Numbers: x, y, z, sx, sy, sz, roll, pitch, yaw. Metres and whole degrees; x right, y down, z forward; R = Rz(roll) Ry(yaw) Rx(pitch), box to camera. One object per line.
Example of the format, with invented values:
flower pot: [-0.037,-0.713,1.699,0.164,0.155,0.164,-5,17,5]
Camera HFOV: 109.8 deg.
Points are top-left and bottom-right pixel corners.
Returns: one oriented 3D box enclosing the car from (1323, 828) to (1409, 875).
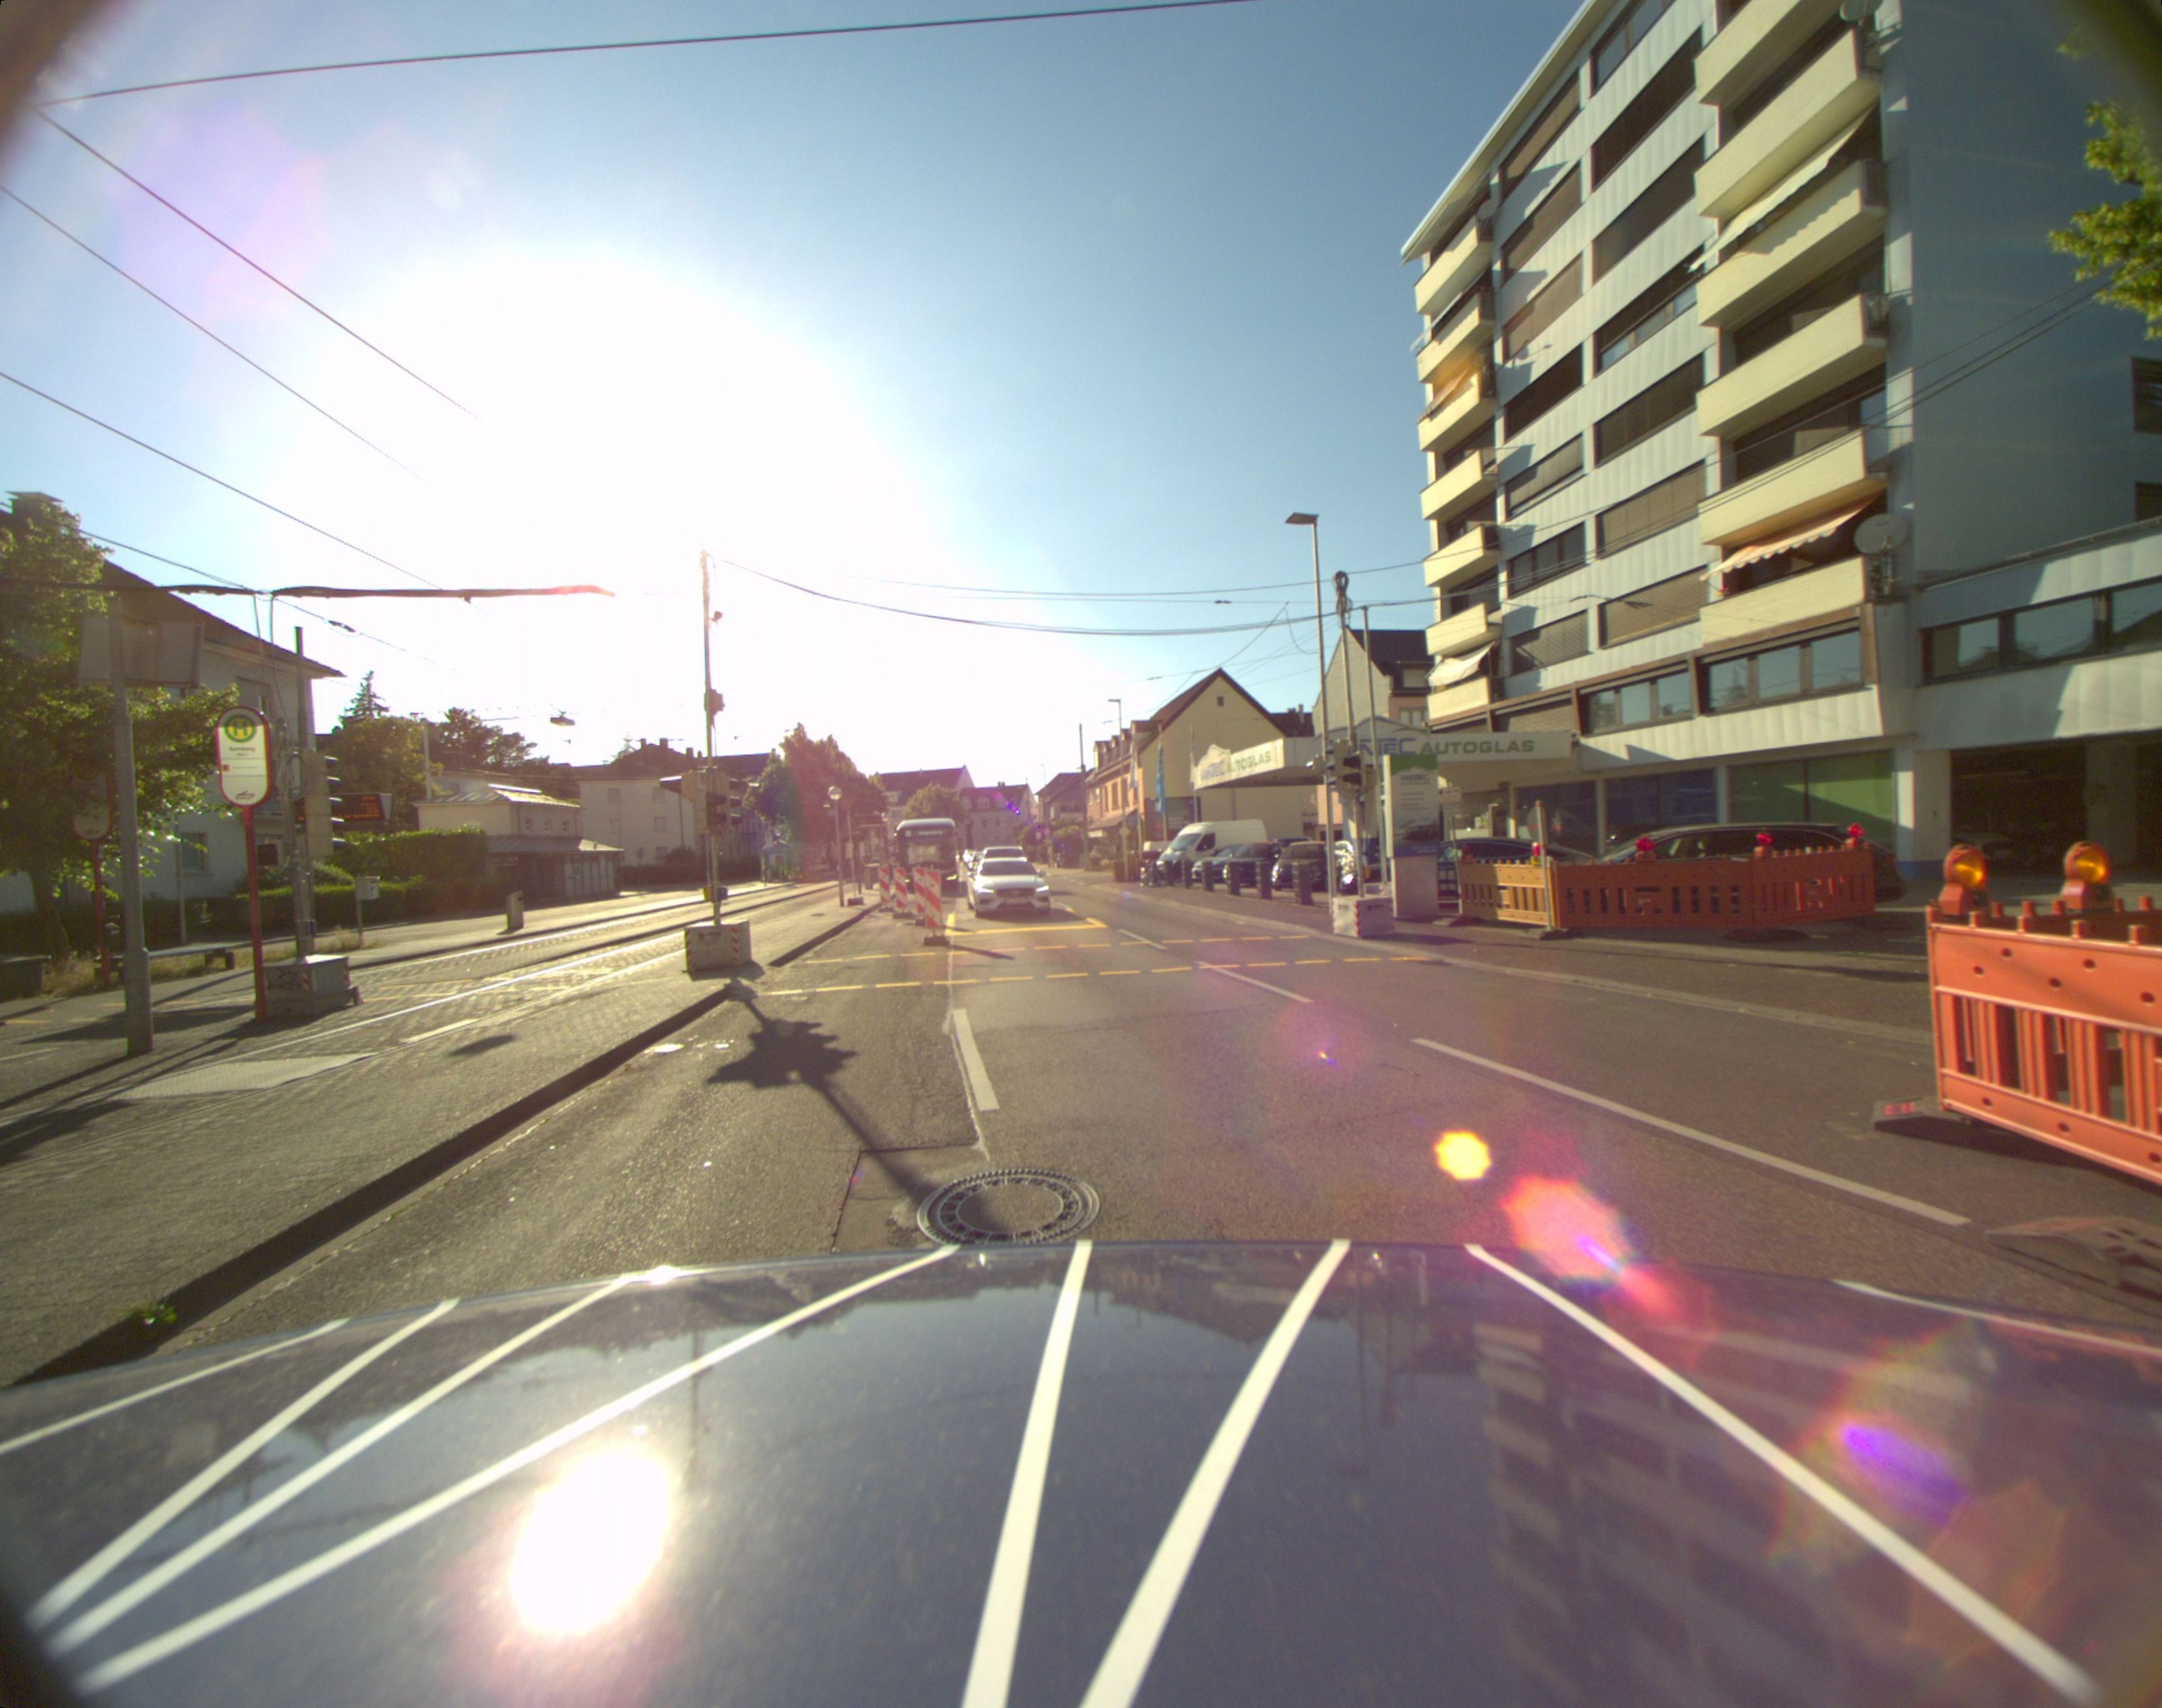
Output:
car: [12.772,-0.123,34.354,1.743,1.933,4.254,-2,1,-9]

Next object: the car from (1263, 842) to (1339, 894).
car: [7.158,0.421,24.488,1.538,1.478,3.379,-2,1,30]

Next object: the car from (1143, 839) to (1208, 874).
car: [5.872,0.131,47.411,3.674,2.002,1.450,-2,1,-11]

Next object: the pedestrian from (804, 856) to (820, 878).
pedestrian: [-20.635,0.999,58.282,0.827,1.601,0.840,-3,2,-42]

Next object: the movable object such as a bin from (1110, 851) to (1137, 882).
movable object such as a bin: [2.047,0.621,36.773,1.046,1.456,0.797,-1,1,23]

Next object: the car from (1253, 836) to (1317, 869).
car: [13.045,-0.096,48.648,3.674,2.002,1.450,-2,1,-11]

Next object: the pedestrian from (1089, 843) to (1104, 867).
pedestrian: [1.107,0.074,55.169,0.811,1.703,0.858,-2,1,-19]

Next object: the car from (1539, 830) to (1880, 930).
car: [9.725,0.401,12.069,3.878,1.430,1.597,-1,1,12]

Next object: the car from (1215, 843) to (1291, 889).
car: [6.287,0.399,27.515,1.591,1.488,3.441,-2,1,32]

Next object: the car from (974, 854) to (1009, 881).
car: [-5.405,0.775,45.668,1.970,1.450,4.820,-2,0,-8]

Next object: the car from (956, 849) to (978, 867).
car: [-10.984,0.372,73.285,1.970,1.694,4.820,-2,0,-8]

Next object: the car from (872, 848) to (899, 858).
car: [-36.841,-0.221,143.184,4.587,1.845,1.743,-2,1,8]

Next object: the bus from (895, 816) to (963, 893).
bus: [-7.580,0.012,39.275,2.750,3.284,12.022,-2,0,-8]

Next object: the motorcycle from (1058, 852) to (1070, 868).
motorcycle: [-1.360,0.433,60.684,0.709,1.210,2.184,-2,1,-6]

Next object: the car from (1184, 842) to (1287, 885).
car: [6.253,0.353,30.587,4.038,1.488,1.738,-3,1,-37]

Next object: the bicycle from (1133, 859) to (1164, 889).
bicycle: [2.663,0.782,30.160,0.726,1.080,1.790,-3,1,-11]

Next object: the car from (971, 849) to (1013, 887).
car: [-4.733,0.660,40.112,1.970,1.816,5.029,-2,0,-8]

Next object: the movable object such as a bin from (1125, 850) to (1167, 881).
movable object such as a bin: [3.251,0.570,37.924,1.799,1.456,1.046,-2,1,-33]

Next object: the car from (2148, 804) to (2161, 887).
car: [22.883,-0.242,14.193,3.753,1.599,1.572,-3,1,-1]

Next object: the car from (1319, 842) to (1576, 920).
car: [7.676,0.522,16.065,4.676,1.430,1.936,-1,1,33]

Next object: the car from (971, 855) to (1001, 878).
car: [-6.634,0.804,52.966,1.970,1.450,4.820,-2,0,-8]

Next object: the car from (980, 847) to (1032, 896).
car: [-3.253,0.664,32.015,1.970,1.816,5.029,-2,0,-8]

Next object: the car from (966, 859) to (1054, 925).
car: [-1.973,0.905,19.995,1.823,1.446,4.213,-2,0,-11]

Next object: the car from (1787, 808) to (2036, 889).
car: [19.426,-0.141,18.018,1.724,1.664,3.627,-2,1,-11]

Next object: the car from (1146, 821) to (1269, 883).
car: [5.541,-0.139,33.058,4.999,2.440,2.110,-3,1,-30]

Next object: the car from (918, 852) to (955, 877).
car: [-9.223,0.635,48.797,1.970,1.450,4.820,-2,0,-8]

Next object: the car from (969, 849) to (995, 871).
car: [-8.030,0.447,61.379,1.970,1.694,4.820,-2,0,-8]
